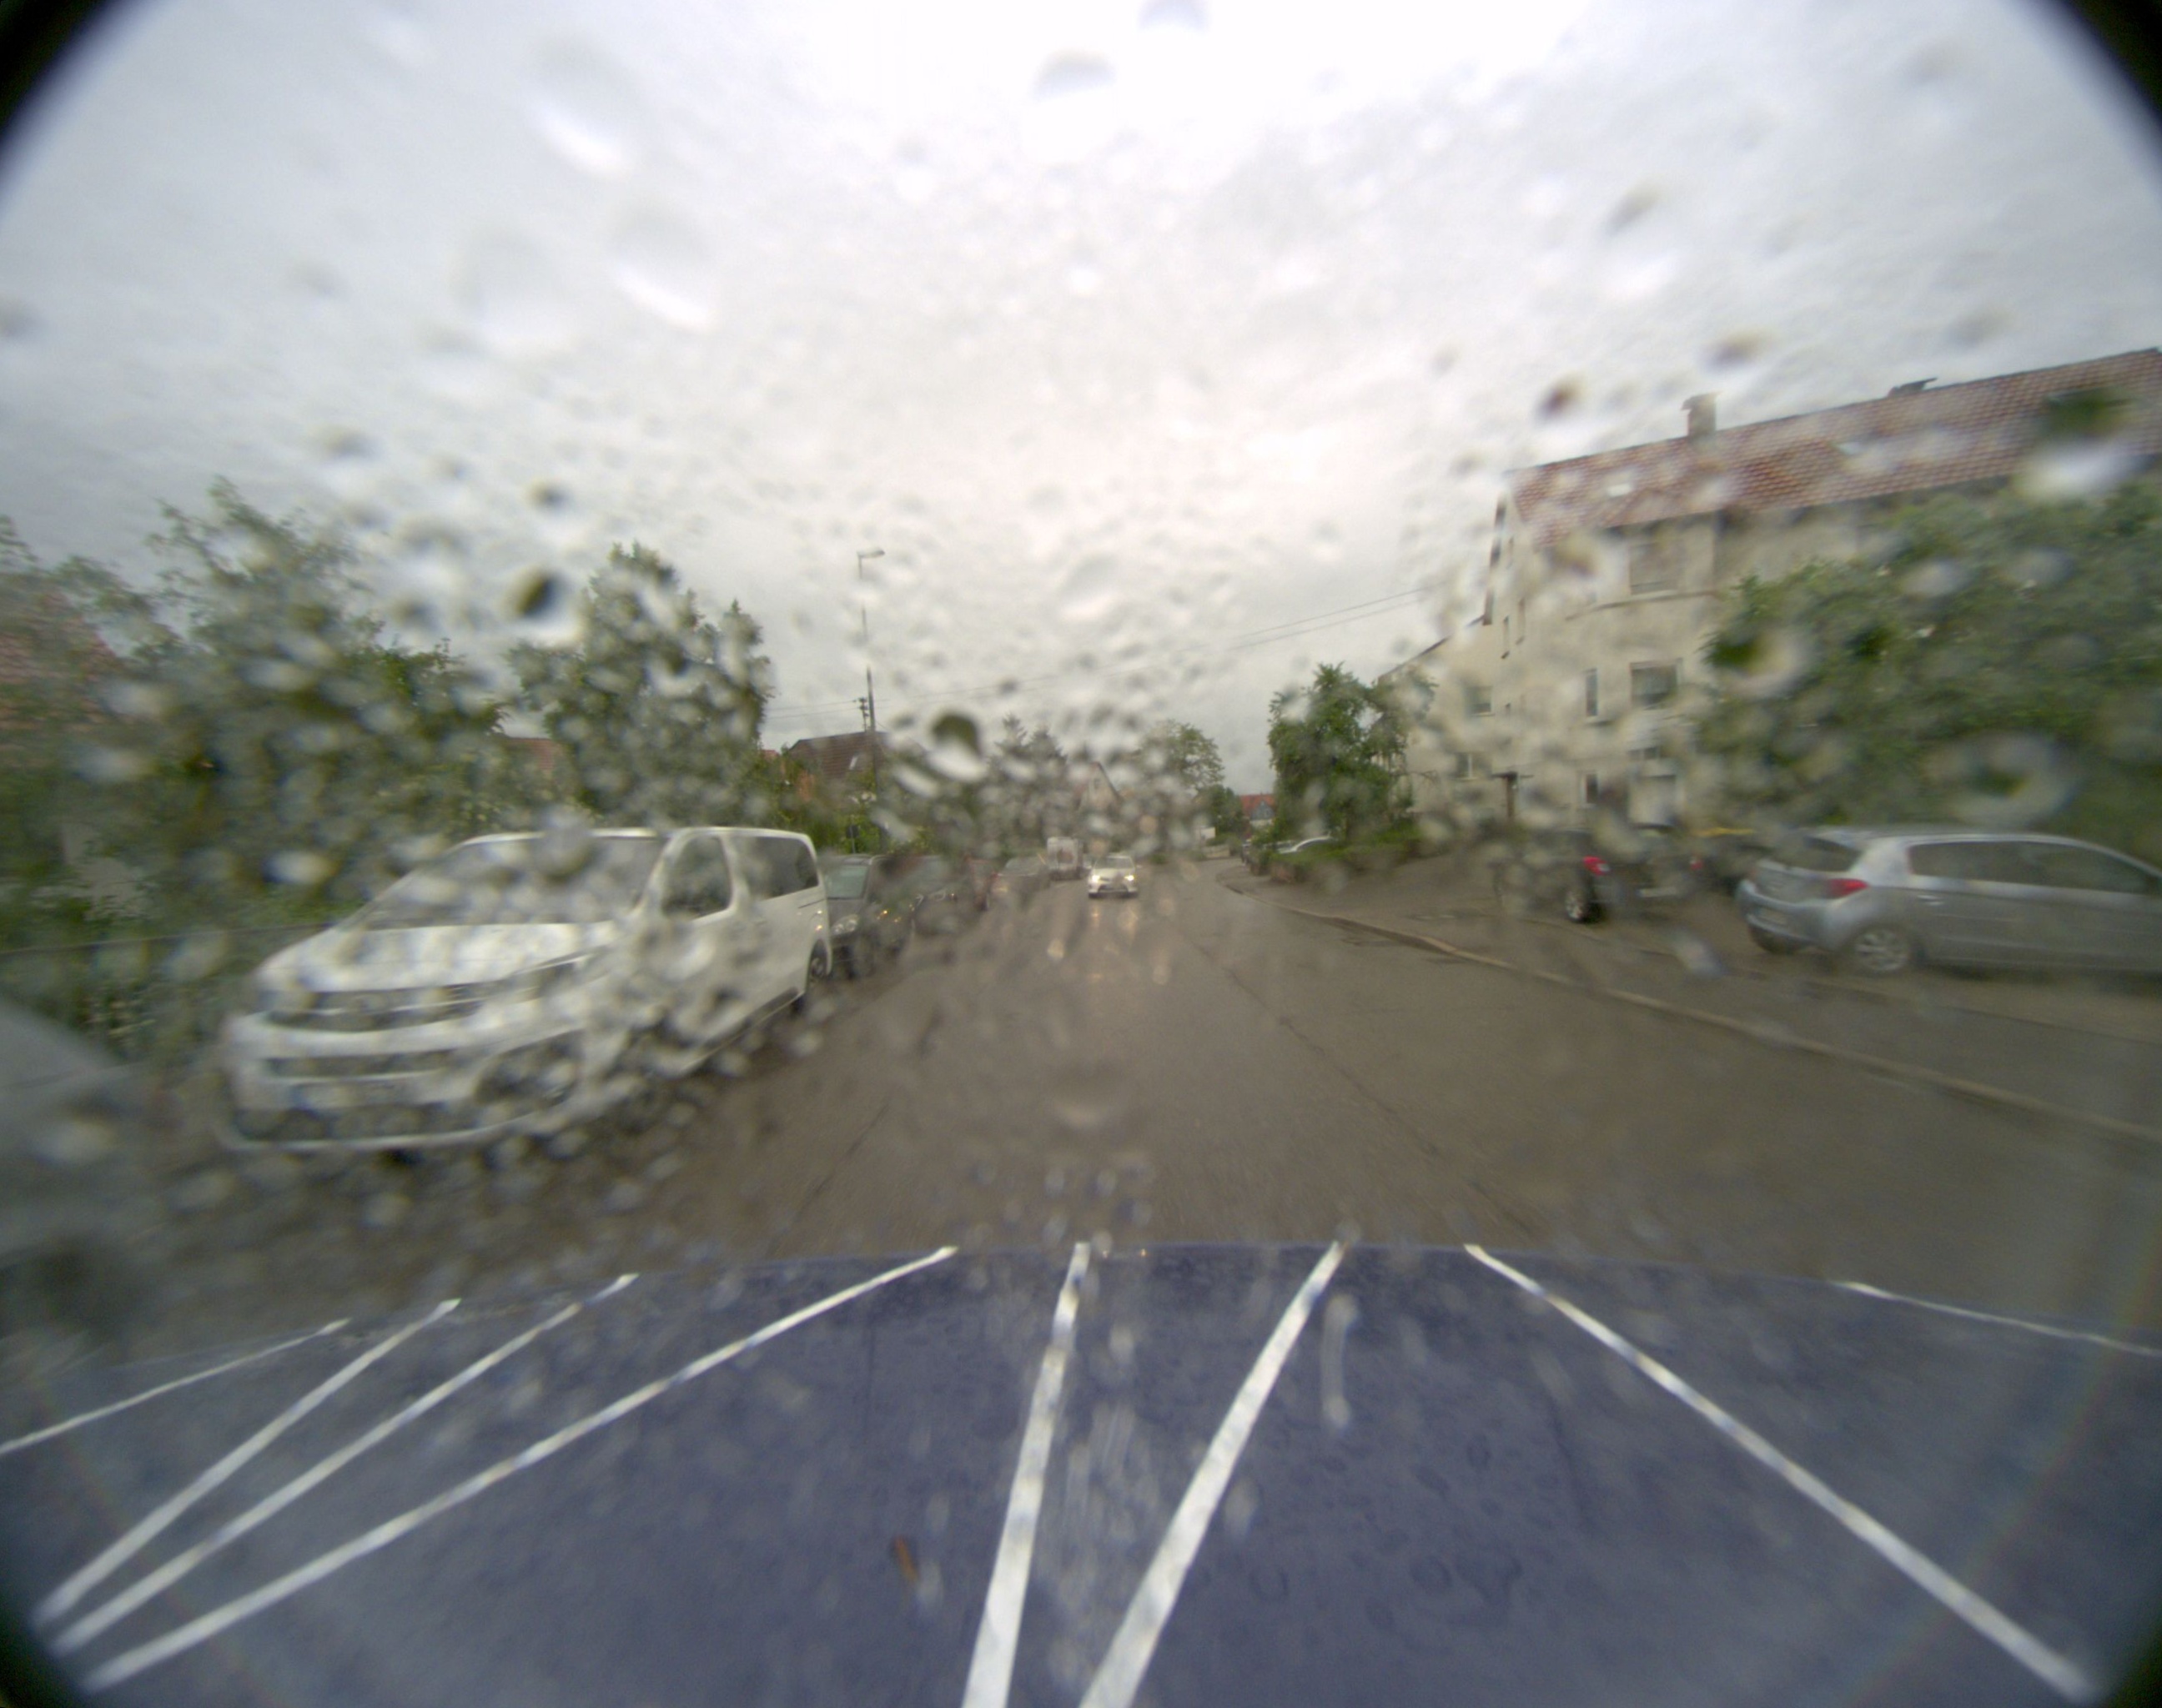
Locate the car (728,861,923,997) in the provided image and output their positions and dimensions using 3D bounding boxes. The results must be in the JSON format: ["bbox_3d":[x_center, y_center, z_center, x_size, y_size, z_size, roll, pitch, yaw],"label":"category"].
[{"bbox_3d":[-3.608,0.949,11.586,1.649,1.532,4.352,-2,1,-3],"label":"car"}]

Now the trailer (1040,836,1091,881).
[{"bbox_3d":[-0.857,0.216,44.967,1.952,2.442,5.437,-2,1,10],"label":"trailer"}]

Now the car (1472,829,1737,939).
[{"bbox_3d":[8.298,0.385,12.609,1.769,1.368,4.249,-6,0,7],"label":"car"}]

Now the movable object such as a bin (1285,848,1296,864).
[{"bbox_3d":[13.677,0.131,49.699,0.538,1.013,0.711,-7,0,13],"label":"movable object such as a bin"}]

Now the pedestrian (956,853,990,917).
[{"bbox_3d":[-2.849,0.809,20.160,0.718,1.625,0.707,-2,1,1],"label":"pedestrian"}]

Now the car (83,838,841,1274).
[{"bbox_3d":[-3.489,0.861,5.819,1.854,1.871,4.909,-2,1,-2],"label":"car"}]

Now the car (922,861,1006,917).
[{"bbox_3d":[-3.391,0.972,22.729,1.739,1.406,3.852,-2,1,2],"label":"car"}]

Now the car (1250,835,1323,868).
[{"bbox_3d":[14.043,-0.205,52.072,4.517,1.604,1.934,-8,-1,15],"label":"car"}]

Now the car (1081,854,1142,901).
[{"bbox_3d":[1.140,0.755,26.465,1.862,1.370,4.181,-3,1,5],"label":"car"}]

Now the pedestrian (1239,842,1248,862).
[{"bbox_3d":[13.504,-0.182,62.995,0.657,1.639,0.733,-2,0,12],"label":"pedestrian"}]

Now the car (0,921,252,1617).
[{"bbox_3d":[-3.370,1.025,0.285,1.652,1.554,3.963,-2,1,1],"label":"car"}]

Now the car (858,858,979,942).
[{"bbox_3d":[-3.469,0.915,17.137,1.821,1.498,4.722,-2,1,-2],"label":"car"}]

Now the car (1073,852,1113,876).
[{"bbox_3d":[0.861,0.618,50.792,1.750,1.416,4.707,-1,1,13],"label":"car"}]

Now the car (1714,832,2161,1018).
[{"bbox_3d":[9.146,0.642,7.588,3.831,1.470,1.805,4,2,15],"label":"car"}]

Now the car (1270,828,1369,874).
[{"bbox_3d":[11.522,-0.142,36.694,4.258,1.423,1.768,-11,-1,20],"label":"car"}]

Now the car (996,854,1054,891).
[{"bbox_3d":[-2.418,0.765,34.034,1.797,1.451,4.790,-2,1,6],"label":"car"}]

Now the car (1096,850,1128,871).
[{"bbox_3d":[2.482,0.492,59.821,1.636,1.448,3.705,-1,1,17],"label":"car"}]
